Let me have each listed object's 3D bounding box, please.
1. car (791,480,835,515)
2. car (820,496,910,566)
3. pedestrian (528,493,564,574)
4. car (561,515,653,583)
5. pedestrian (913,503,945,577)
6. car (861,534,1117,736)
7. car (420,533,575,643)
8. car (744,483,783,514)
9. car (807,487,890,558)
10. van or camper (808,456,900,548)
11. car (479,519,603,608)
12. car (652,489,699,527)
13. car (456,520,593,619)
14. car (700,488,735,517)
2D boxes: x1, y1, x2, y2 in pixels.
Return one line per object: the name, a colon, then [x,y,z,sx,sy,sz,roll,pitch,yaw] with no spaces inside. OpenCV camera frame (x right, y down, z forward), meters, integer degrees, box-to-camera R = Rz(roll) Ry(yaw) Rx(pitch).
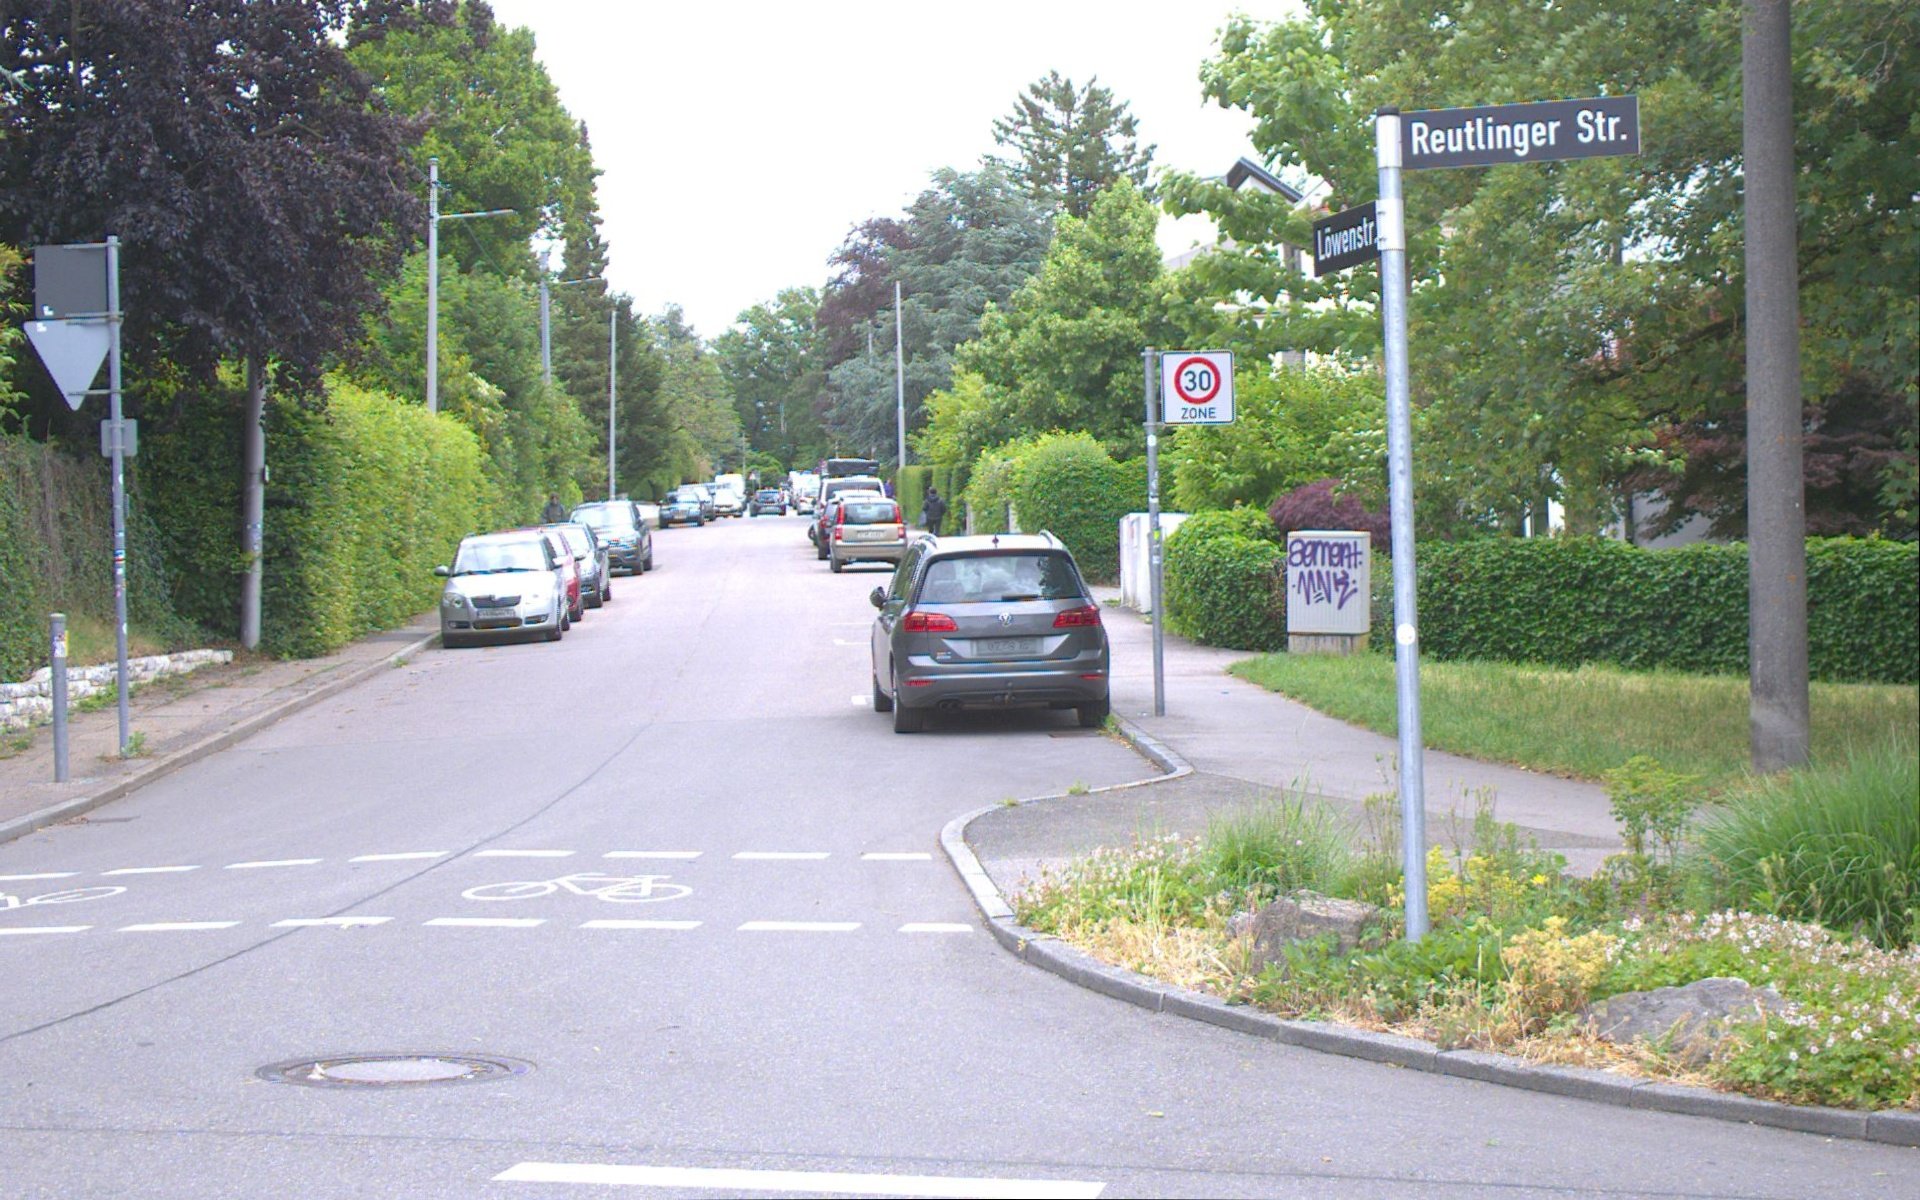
car: [-7.695,-5.349,180.117,1.939,1.790,4.196,1,1,-7]
car: [-2.012,-1.444,72.129,1.608,1.409,3.474,1,1,-6]
pedestrian: [-10.415,-1.666,86.483,0.853,2.007,0.873,1,1,-9]
car: [-7.837,-1.152,76.523,1.946,1.437,4.001,-1,1,-5]
pedestrian: [-0.780,-1.519,87.513,0.757,1.865,0.620,1,1,-3]
car: [0.171,0.233,28.854,1.817,1.531,4.001,-2,1,-4]
car: [-6.456,-0.201,48.347,1.946,1.437,4.001,-1,1,-5]
car: [-10.348,-5.328,180.864,1.815,1.568,4.001,-1,1,-7]
car: [-2.666,-1.832,81.845,1.746,1.634,3.729,-1,1,-5]
van or camper: [-2.928,-2.651,93.835,2.112,2.396,5.247,-1,1,-6]
car: [-7.156,-0.651,58.982,1.946,1.437,4.001,-1,1,-5]
car: [-11.306,-3.667,136.801,1.715,1.458,3.657,1,1,-3]
car: [-6.735,-0.500,53.486,1.946,1.437,4.001,-1,1,-5]
car: [-11.550,-4.654,163.958,1.655,1.330,3.781,1,1,-4]
